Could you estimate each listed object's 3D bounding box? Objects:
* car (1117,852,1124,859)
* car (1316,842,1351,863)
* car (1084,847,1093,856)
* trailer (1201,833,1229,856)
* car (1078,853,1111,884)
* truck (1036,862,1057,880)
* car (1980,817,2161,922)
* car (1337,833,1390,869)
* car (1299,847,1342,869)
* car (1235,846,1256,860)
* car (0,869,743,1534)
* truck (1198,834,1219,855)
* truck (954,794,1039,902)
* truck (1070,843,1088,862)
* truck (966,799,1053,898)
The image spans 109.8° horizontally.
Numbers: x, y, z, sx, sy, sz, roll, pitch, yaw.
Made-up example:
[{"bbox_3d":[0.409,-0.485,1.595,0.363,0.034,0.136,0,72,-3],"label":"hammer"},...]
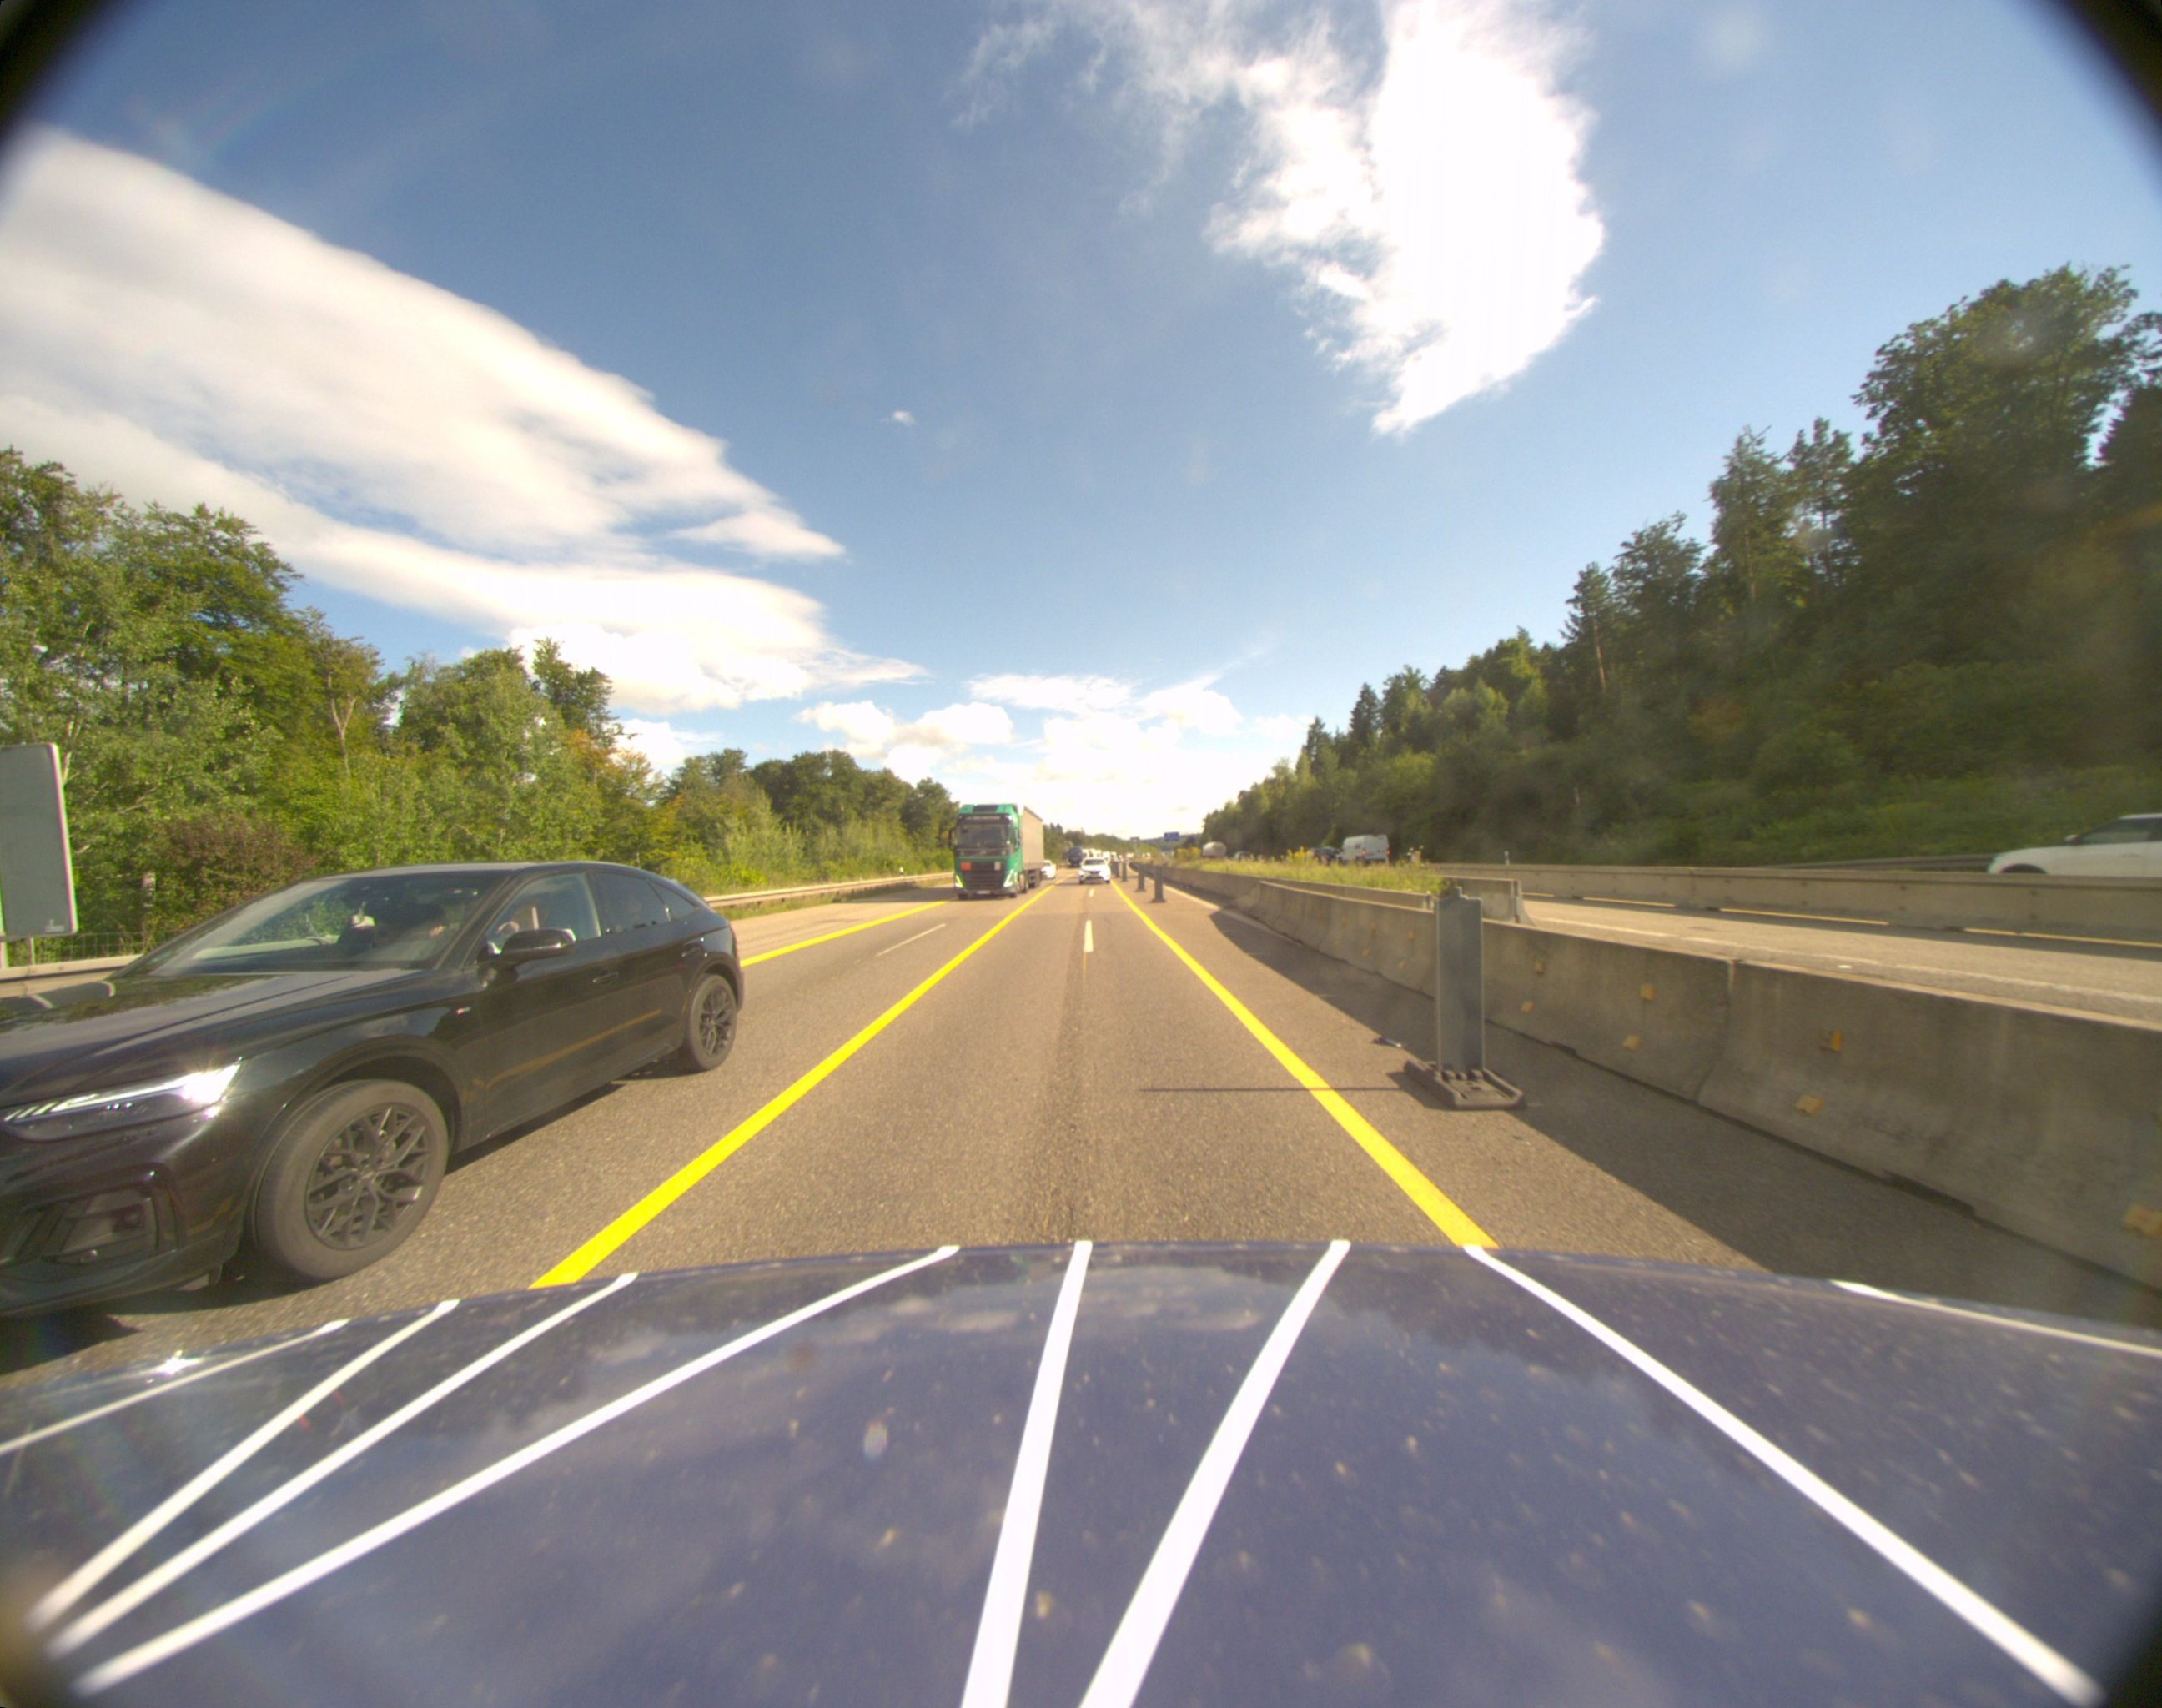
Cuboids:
[{"bbox_3d":[12.073,0.340,234.953,1.998,2.002,4.001,-2,0,4],"label":"car"},{"bbox_3d":[23.948,-0.141,72.215,1.865,1.843,4.762,-2,0,2],"label":"car"},{"bbox_3d":[1.694,-0.546,163.999,1.750,1.787,4.000,-2,0,2],"label":"car"},{"bbox_3d":[21.729,-1.517,123.906,2.808,3.469,11.113,-2,0,2],"label":"trailer"},{"bbox_3d":[0.855,0.812,44.694,1.782,1.593,4.018,-2,0,2],"label":"car"},{"bbox_3d":[-2.672,1.331,59.727,1.468,1.215,3.087,-2,0,0],"label":"truck"},{"bbox_3d":[17.549,0.214,12.088,1.782,1.593,4.018,-2,0,2],"label":"car"},{"bbox_3d":[22.982,-0.244,62.025,2.033,2.669,6.523,-2,0,2],"label":"car"},{"bbox_3d":[18.560,0.260,59.119,1.963,1.579,4.482,-2,0,1],"label":"car"},{"bbox_3d":[19.786,-0.137,91.600,1.782,1.593,4.018,-2,0,2],"label":"car"},{"bbox_3d":[-3.690,0.966,4.068,1.782,1.593,4.293,-2,0,0],"label":"car"},{"bbox_3d":[21.898,-1.579,130.538,2.791,3.469,4.939,-2,1,2],"label":"truck"},{"bbox_3d":[-3.466,-0.264,32.787,2.527,4.075,6.857,-2,1,2],"label":"truck"},{"bbox_3d":[-0.347,-0.253,133.551,2.576,3.167,6.804,-2,0,4],"label":"truck"},{"bbox_3d":[-3.288,-0.190,39.166,2.470,4.119,14.213,-2,0,2],"label":"truck"}]
